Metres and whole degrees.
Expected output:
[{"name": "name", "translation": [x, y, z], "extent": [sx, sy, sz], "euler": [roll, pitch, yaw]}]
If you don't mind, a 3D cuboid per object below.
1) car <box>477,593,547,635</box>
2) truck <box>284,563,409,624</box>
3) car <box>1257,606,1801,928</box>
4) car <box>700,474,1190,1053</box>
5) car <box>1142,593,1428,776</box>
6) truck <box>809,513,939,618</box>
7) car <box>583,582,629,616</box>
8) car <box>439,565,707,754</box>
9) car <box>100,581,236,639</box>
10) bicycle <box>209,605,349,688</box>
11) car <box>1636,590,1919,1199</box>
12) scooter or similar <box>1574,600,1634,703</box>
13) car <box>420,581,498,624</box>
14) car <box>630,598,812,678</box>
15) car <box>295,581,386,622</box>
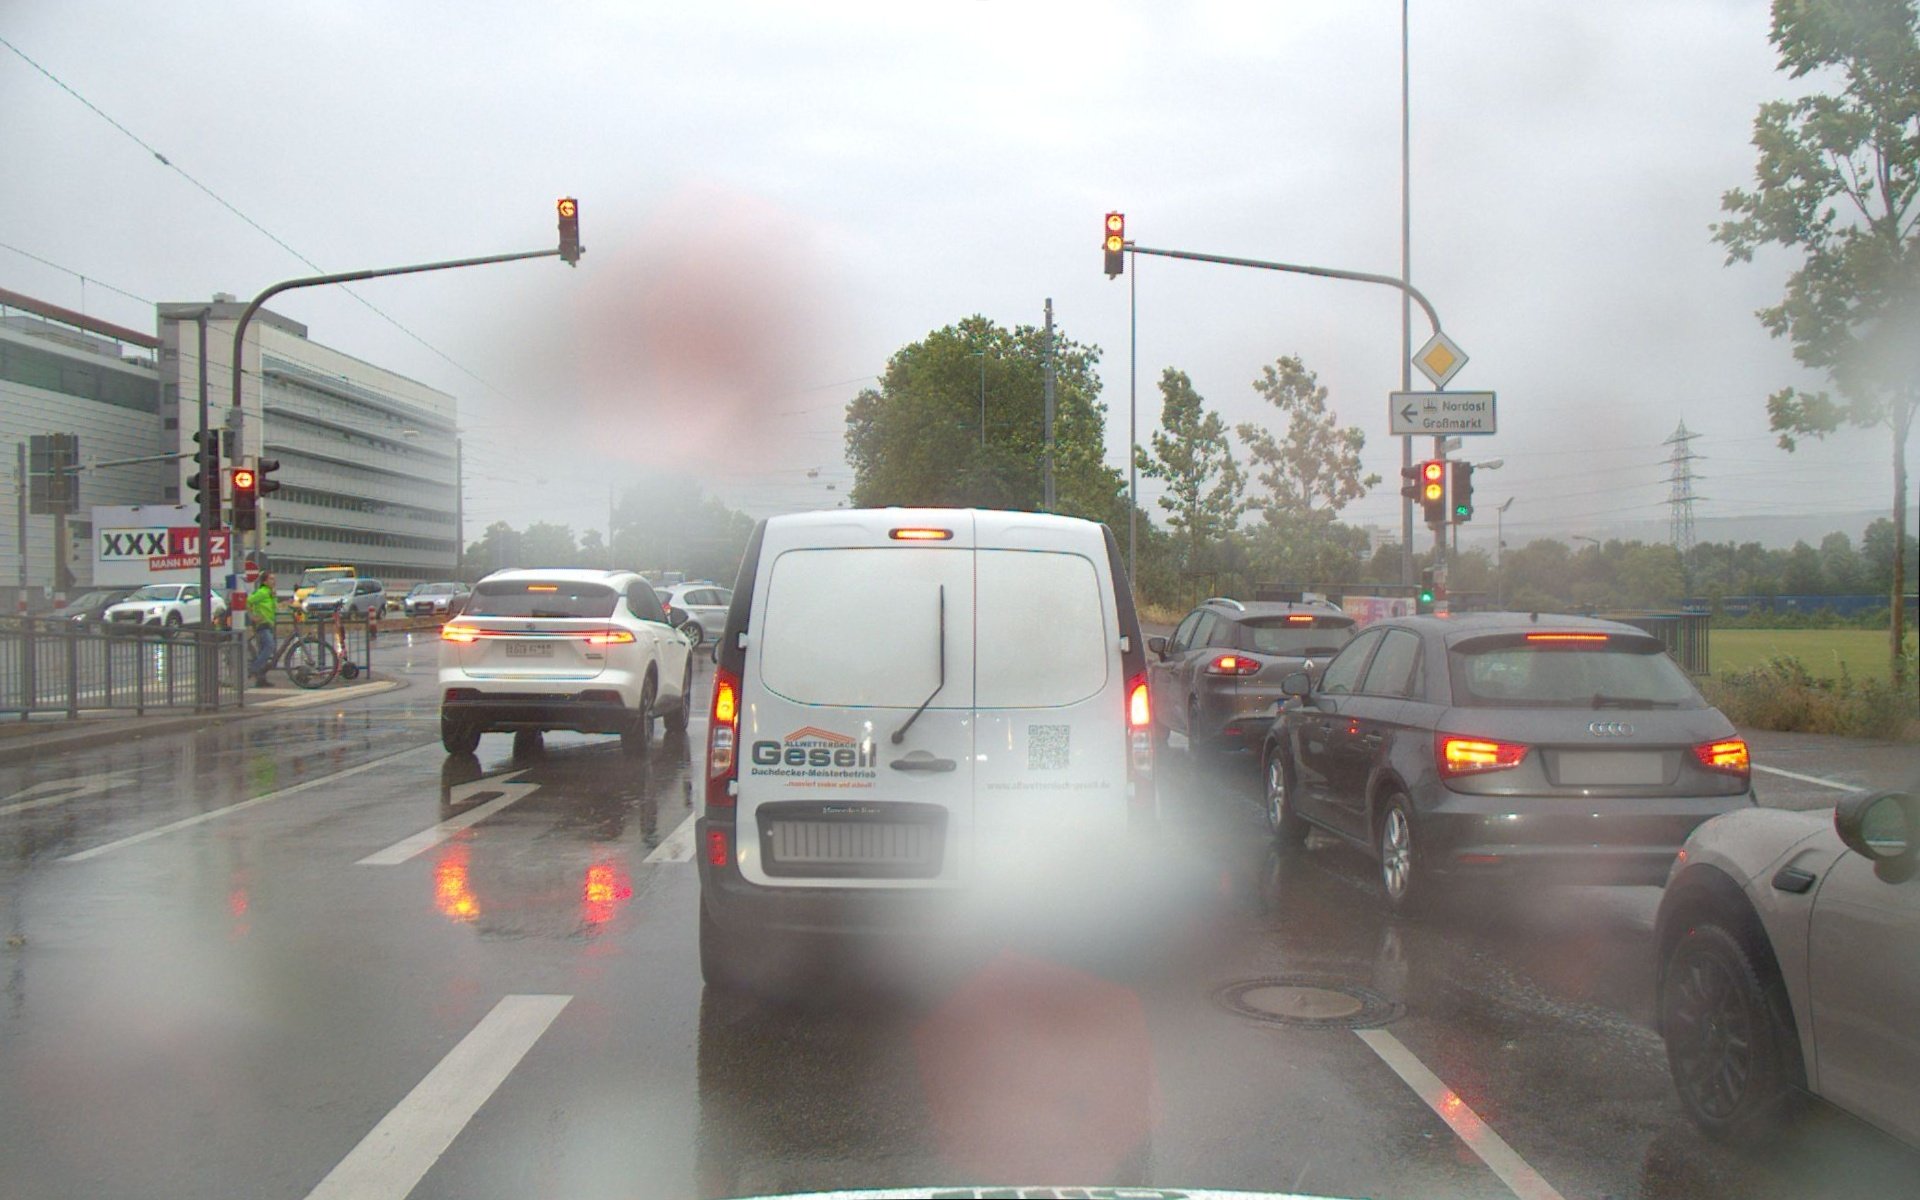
[{"name": "car", "translation": [-20.824, 0.650, 77.001], "extent": [1.889, 1.859, 4.002], "euler": [1, 0, 4]}, {"name": "truck", "translation": [-25.128, -0.239, 68.127], "extent": [2.303, 2.319, 7.632], "euler": [1, 0, 0]}, {"name": "car", "translation": [2.789, 0.730, 8.953], "extent": [1.596, 1.368, 3.622], "euler": [1, 0, -2]}, {"name": "car", "translation": [-0.071, 0.521, 7.228], "extent": [1.534, 1.819, 3.999], "euler": [0, 0, -1]}, {"name": "car", "translation": [2.896, 0.691, 15.559], "extent": [1.822, 1.453, 3.806], "euler": [1, 1, -2]}, {"name": "truck", "translation": [-2.415, -0.938, 49.022], "extent": [2.576, 2.865, 7.150], "euler": [1, 0, 7]}, {"name": "car", "translation": [-22.146, -0.057, 103.592], "extent": [1.952, 2.049, 4.000], "euler": [1, 0, 1]}, {"name": "car", "translation": [-3.587, 0.479, 16.088], "extent": [1.694, 1.562, 4.296], "euler": [1, 1, -2]}, {"name": "car", "translation": [-22.091, 0.269, 46.273], "extent": [1.662, 1.518, 3.878], "euler": [1, 0, 5]}, {"name": "bicycle", "translation": [-9.602, 0.653, 23.354], "extent": [1.716, 1.052, 0.414], "euler": [4, -1, -3]}, {"name": "car", "translation": [2.955, 0.761, 3.237], "extent": [1.679, 1.534, 3.622], "euler": [1, 0, -2]}, {"name": "scooter or similar", "translation": [7.592, 0.591, 19.519], "extent": [0.240, 1.178, 1.186], "euler": [1, 0, 1]}, {"name": "car", "translation": [-21.106, 0.114, 69.773], "extent": [1.853, 1.729, 4.001], "euler": [1, 0, 3]}, {"name": "car", "translation": [-5.345, 0.847, 37.384], "extent": [1.590, 1.689, 4.057], "euler": [1, 0, 40]}, {"name": "car", "translation": [-21.767, 0.076, 58.263], "extent": [1.554, 1.359, 3.832], "euler": [1, -1, 4]}]
